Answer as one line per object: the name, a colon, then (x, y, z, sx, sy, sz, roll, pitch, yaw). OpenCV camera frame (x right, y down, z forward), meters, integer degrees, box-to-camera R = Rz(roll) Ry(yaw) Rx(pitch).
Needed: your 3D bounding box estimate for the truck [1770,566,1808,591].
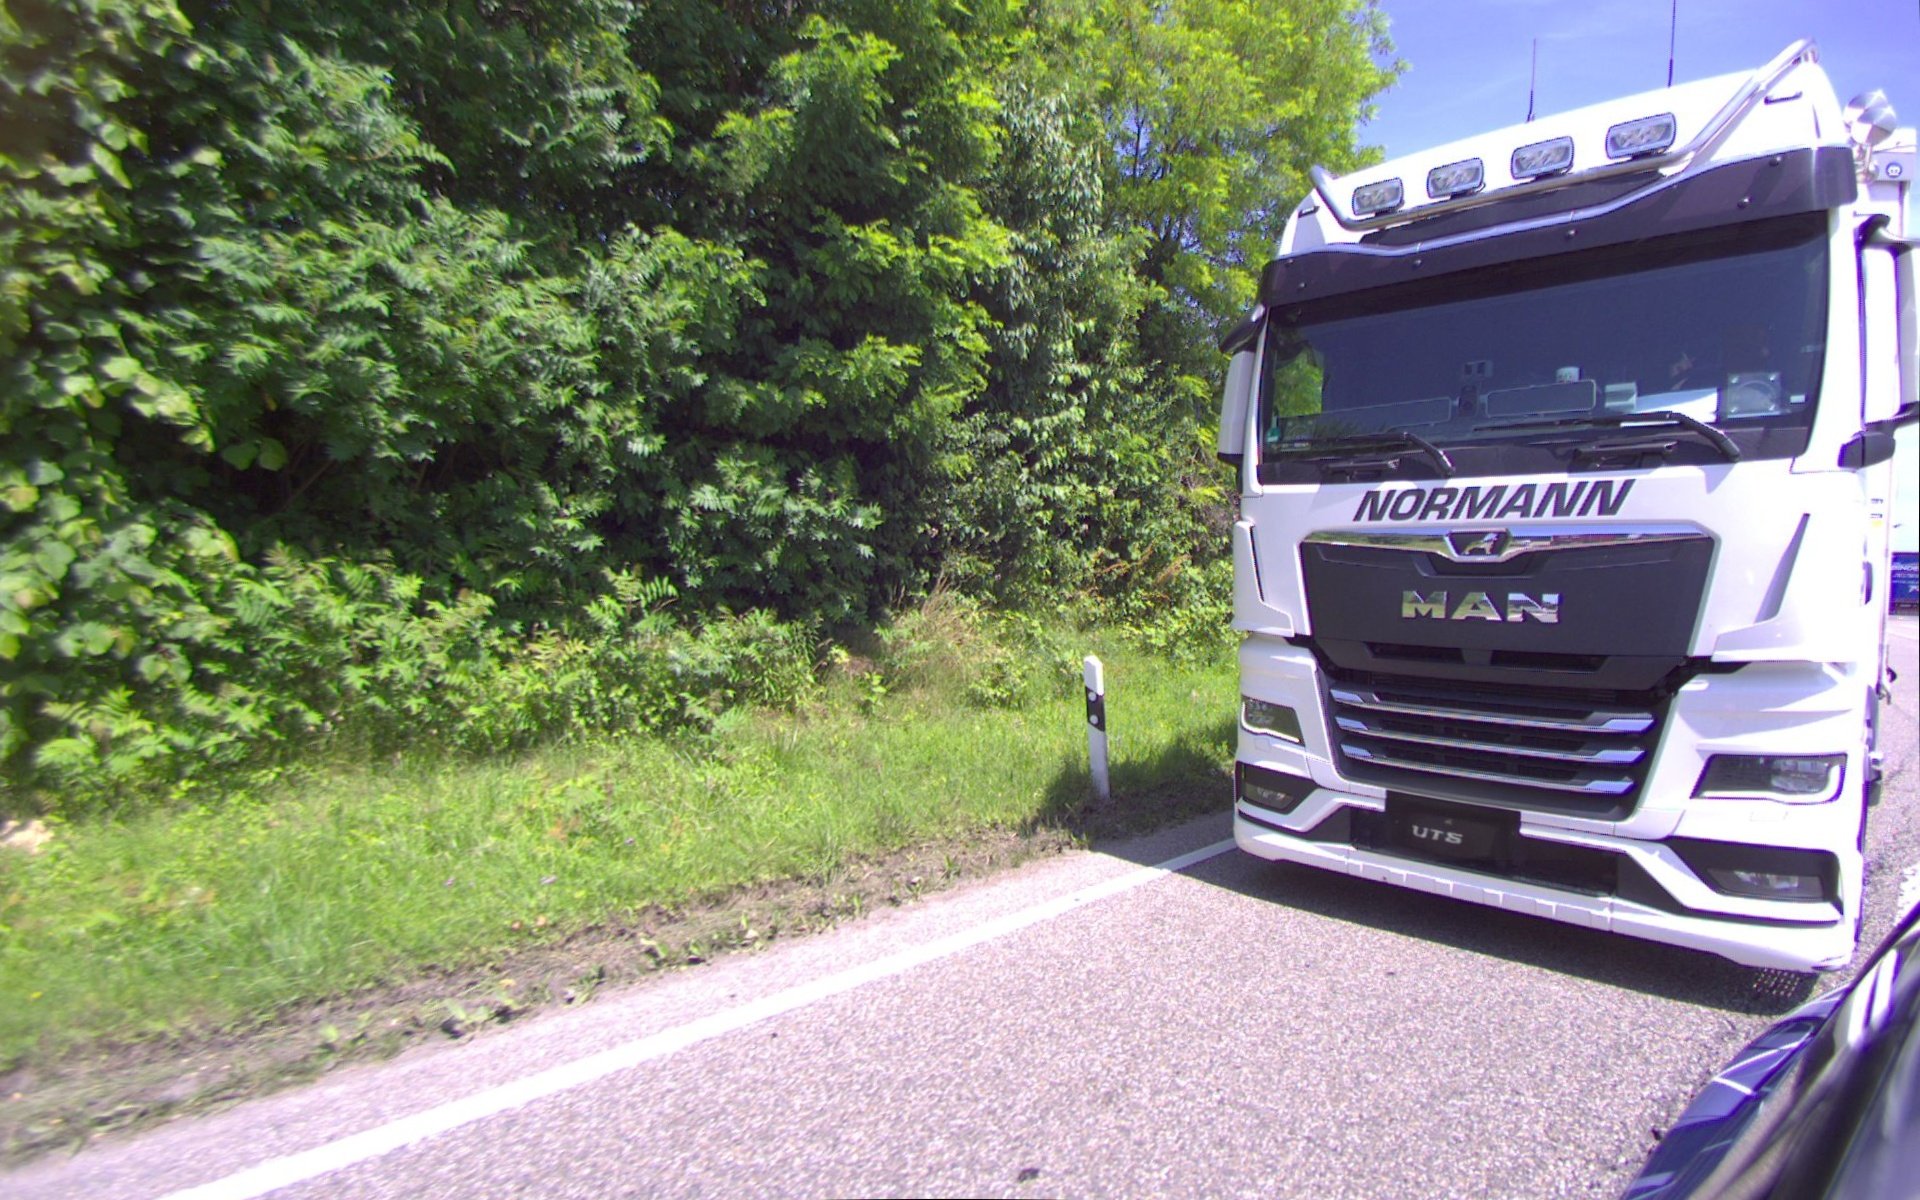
truck: (87.982, -2.295, 107.493, 2.419, 2.368, 5.605, 6, 5, 34)

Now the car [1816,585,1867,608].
car: (56.207, -0.239, 64.578, 1.842, 1.286, 4.127, 4, 3, 33)

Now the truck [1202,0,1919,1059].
truck: (7.688, -0.847, 10.595, 2.968, 4.144, 17.391, 1, 2, 39)

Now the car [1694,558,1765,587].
car: (52.907, -1.898, 69.639, 3.514, 1.494, 1.813, 10, 7, 30)

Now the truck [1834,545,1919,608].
truck: (64.543, -1.648, 70.553, 2.833, 3.936, 16.811, 3, 3, 32)

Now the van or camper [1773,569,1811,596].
van or camper: (70.167, -1.510, 85.375, 1.830, 2.164, 5.280, 3, 3, 33)

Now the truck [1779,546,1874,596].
truck: (76.048, -2.695, 89.262, 2.774, 3.936, 16.325, 2, 3, 28)

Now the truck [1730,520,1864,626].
truck: (35.482, -1.212, 43.192, 2.958, 4.057, 6.265, 5, 4, 29)
